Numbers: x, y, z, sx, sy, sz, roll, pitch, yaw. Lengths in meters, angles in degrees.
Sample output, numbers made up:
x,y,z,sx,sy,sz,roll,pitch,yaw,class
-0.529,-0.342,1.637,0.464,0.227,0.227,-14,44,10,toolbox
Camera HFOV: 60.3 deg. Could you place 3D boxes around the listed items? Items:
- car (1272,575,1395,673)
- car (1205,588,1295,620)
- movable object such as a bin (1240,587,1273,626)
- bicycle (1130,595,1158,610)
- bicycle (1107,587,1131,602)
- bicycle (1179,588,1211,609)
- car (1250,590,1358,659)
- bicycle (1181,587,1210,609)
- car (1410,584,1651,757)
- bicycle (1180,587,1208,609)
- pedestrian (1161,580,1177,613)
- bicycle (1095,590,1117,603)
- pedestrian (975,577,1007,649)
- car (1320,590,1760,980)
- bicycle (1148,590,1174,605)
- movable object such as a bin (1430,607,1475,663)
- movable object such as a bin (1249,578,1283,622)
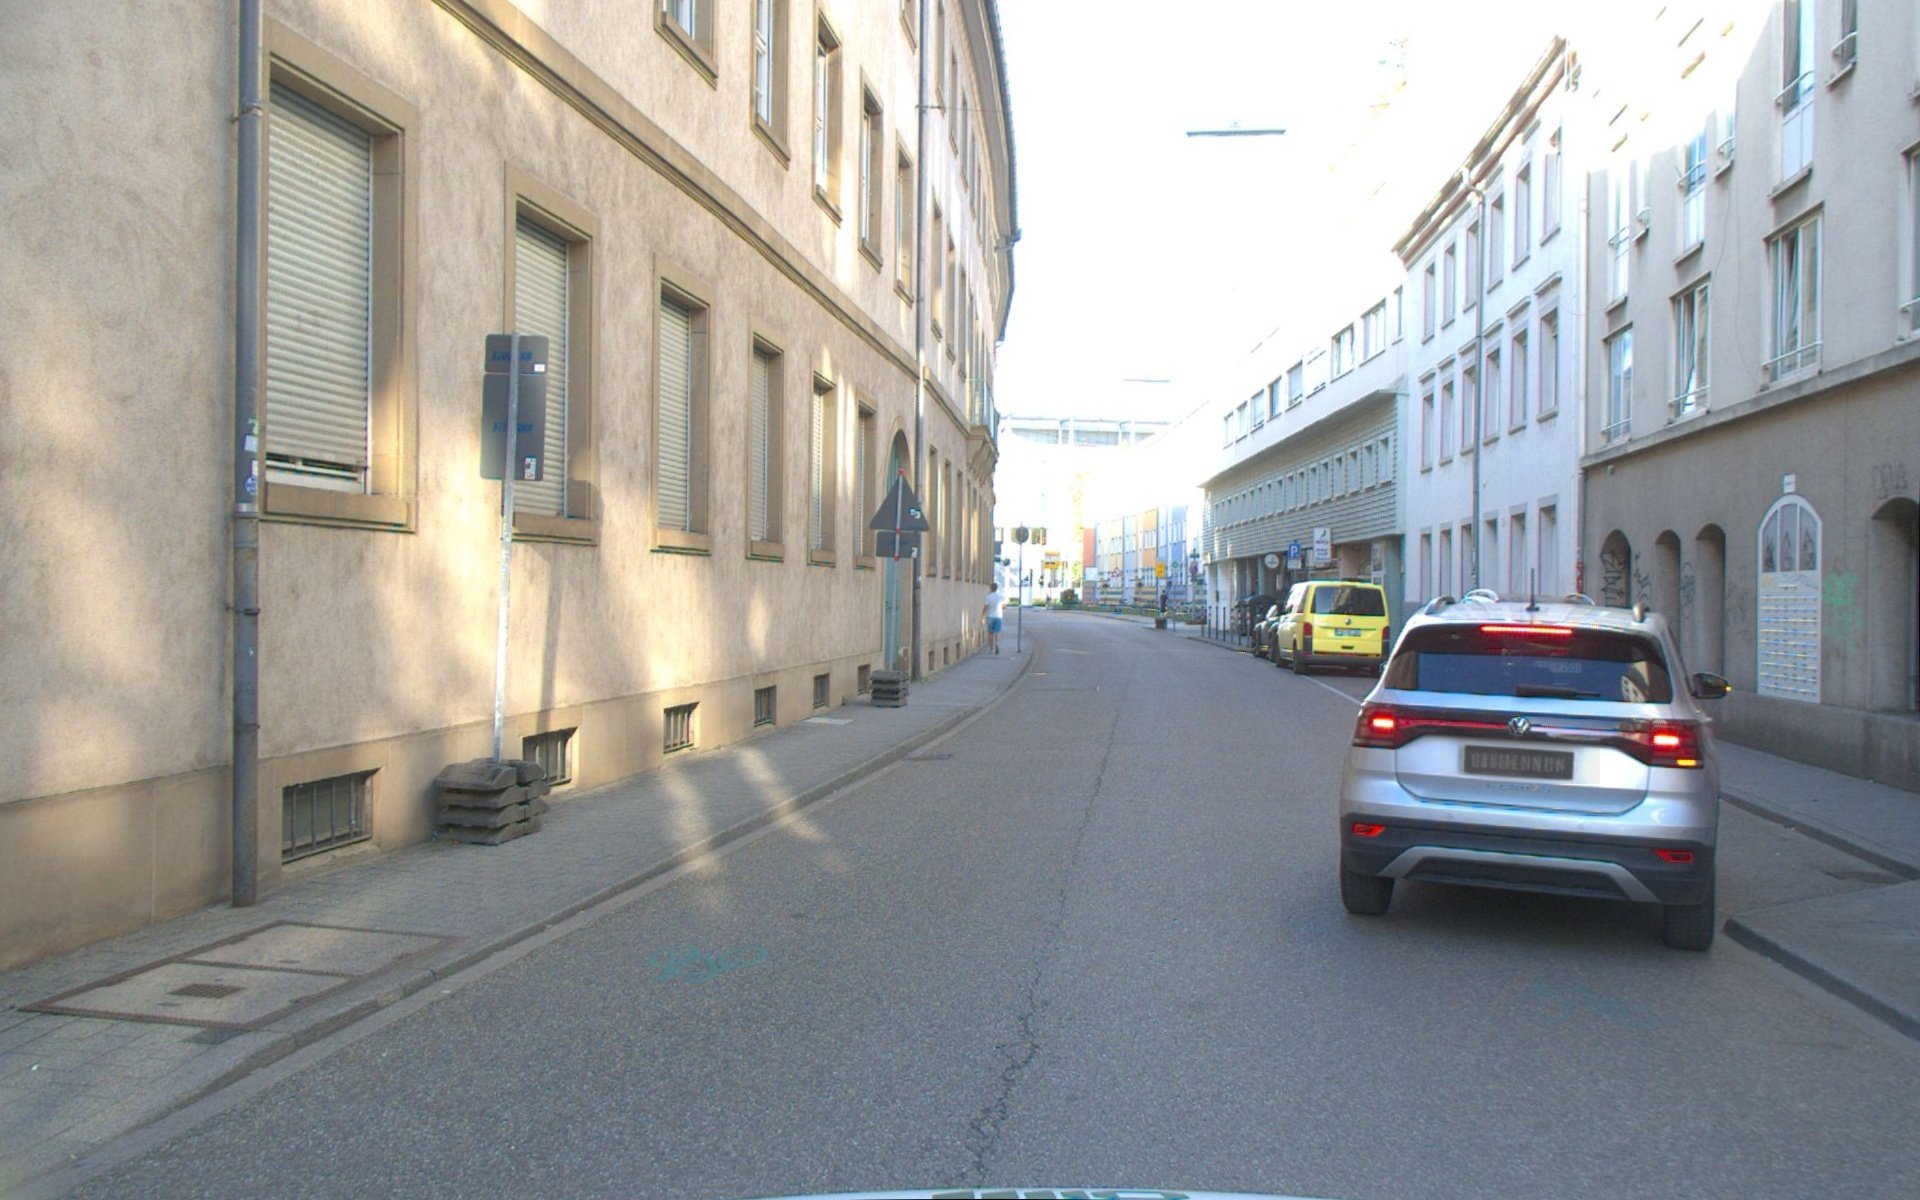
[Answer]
x,y,z,sx,sy,sz,roll,pitch,yaw,class
7.904,0.453,35.414,1.844,1.914,4.848,1,1,4,car
13.822,0.178,78.927,3.995,1.508,1.865,0,0,-1,car
10.958,0.252,61.170,0.961,1.409,1.321,-1,-2,2,movable object such as a bin
12.148,0.148,109.246,1.713,0.963,0.552,1,0,-1,bicycle
12.138,-0.412,126.006,1.774,1.157,0.551,0,0,-2,bicycle
13.536,-0.091,95.339,1.713,1.161,0.552,-3,1,-1,bicycle
8.325,0.560,40.340,1.844,1.515,4.369,1,1,2,car
13.760,-0.116,96.754,1.610,1.161,0.283,-3,1,-9,bicycle
6.353,0.689,18.917,1.786,1.683,4.497,1,1,8,car
13.744,-0.117,97.030,1.573,1.161,0.237,-3,1,-9,bicycle
11.591,-0.179,91.747,0.682,1.790,1.189,-2,0,0,pedestrian
12.363,-0.291,140.274,1.719,1.021,0.612,-1,0,-6,bicycle
0.774,0.311,40.540,0.678,1.699,0.875,2,0,4,pedestrian
3.250,0.760,9.088,1.788,1.586,3.985,2,1,22,car
13.502,-0.168,111.197,1.712,0.963,0.326,-1,0,0,bicycle
9.887,0.695,33.205,0.613,1.069,0.708,-4,0,0,movable object such as a bin
11.016,0.018,59.537,0.961,1.506,1.551,-1,-2,2,movable object such as a bin
